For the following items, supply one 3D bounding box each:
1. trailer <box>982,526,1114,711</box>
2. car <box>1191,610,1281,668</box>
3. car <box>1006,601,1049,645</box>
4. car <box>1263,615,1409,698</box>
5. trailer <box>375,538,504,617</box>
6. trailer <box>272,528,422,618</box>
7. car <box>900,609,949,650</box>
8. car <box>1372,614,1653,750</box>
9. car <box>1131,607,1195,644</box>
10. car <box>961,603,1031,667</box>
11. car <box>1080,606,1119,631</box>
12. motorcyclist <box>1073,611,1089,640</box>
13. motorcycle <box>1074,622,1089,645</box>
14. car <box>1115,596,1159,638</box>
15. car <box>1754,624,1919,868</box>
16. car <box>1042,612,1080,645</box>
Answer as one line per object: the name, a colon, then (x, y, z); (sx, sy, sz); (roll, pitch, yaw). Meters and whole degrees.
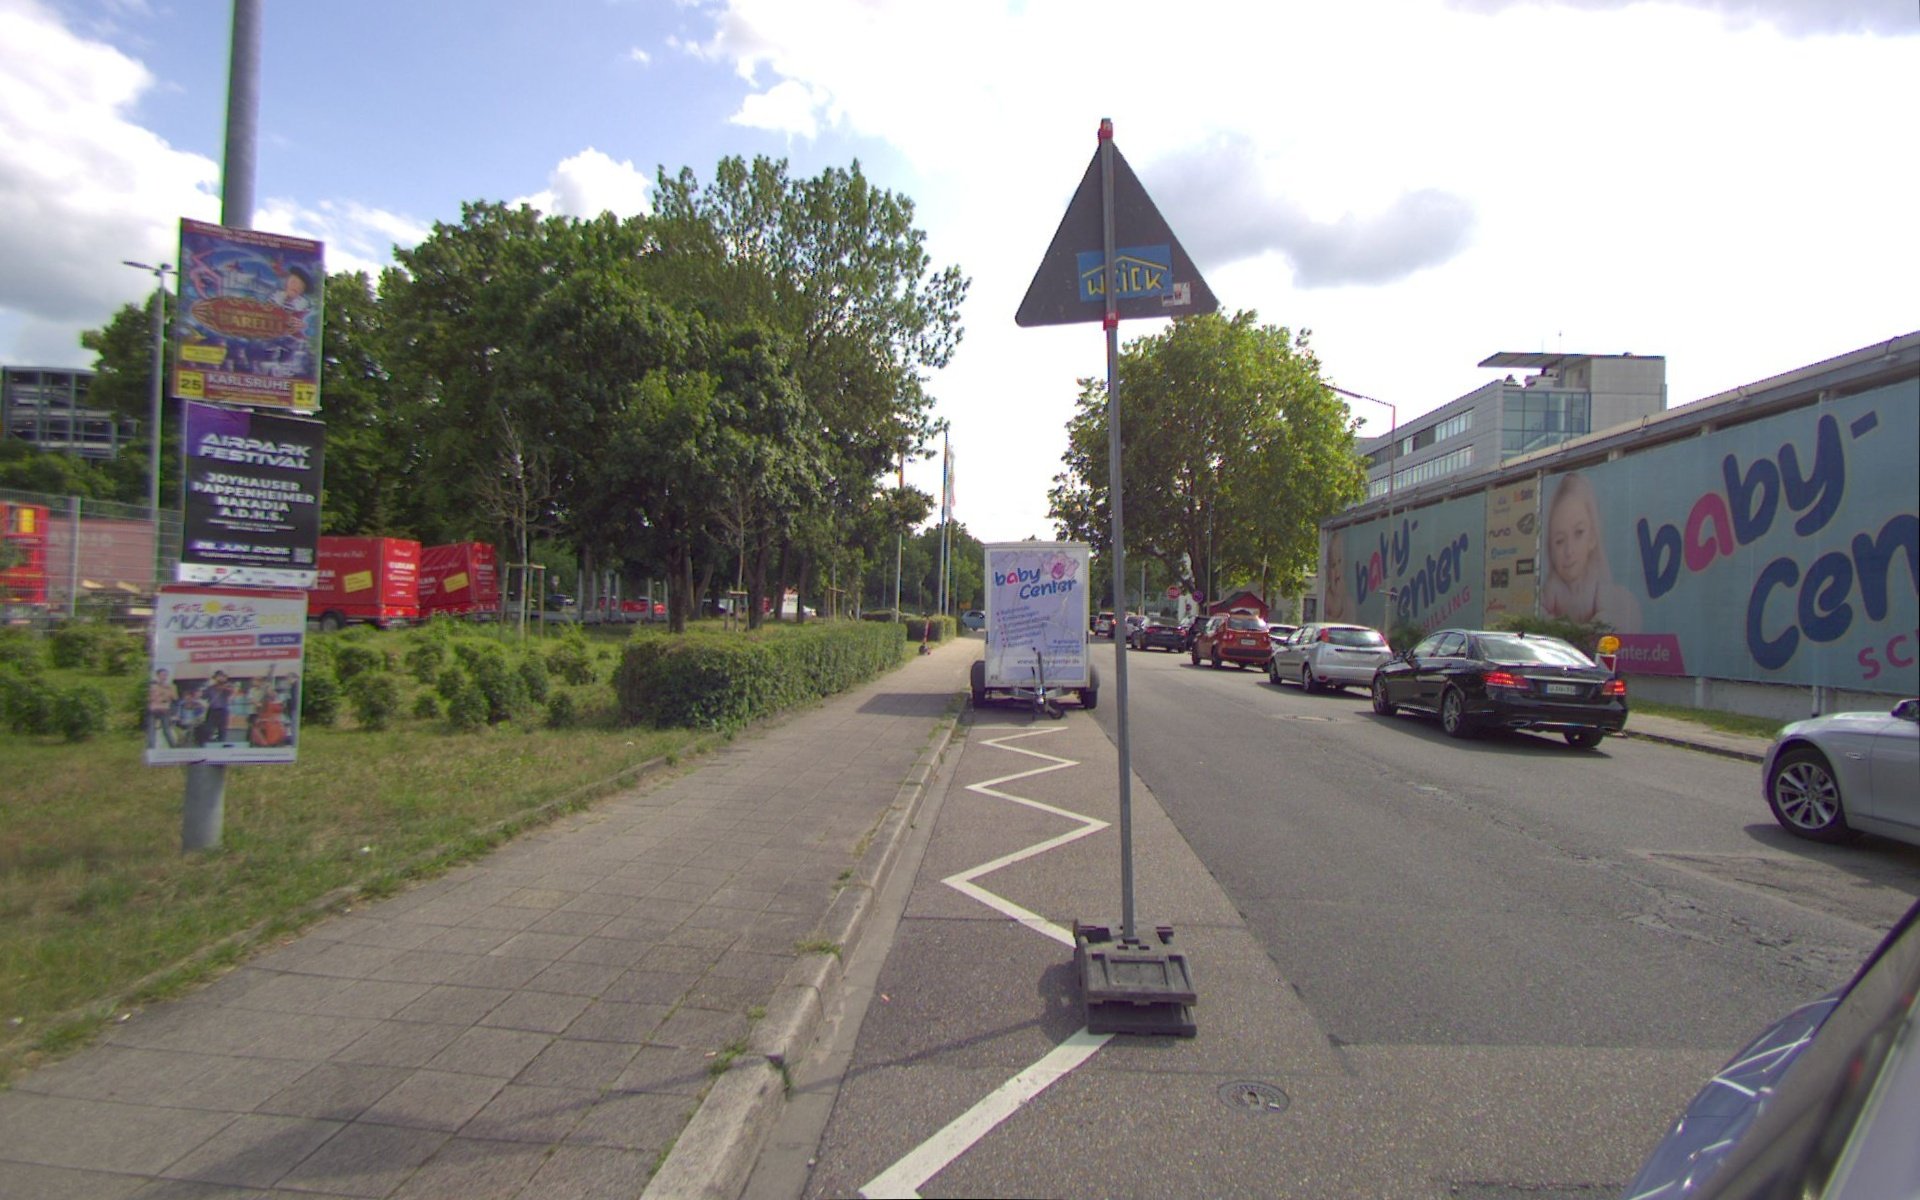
trailer: (1.256, 0.244, 15.629); (1.736, 2.449, 4.274); (-1, 0, 2)
car: (7.980, 1.094, 29.519); (1.569, 1.522, 3.506); (2, 0, -1)
car: (3.382, 1.093, 50.407); (1.965, 2.039, 3.994); (-1, 0, 6)
car: (7.923, 1.132, 21.731); (1.761, 1.509, 3.945); (2, 0, 2)
trailer: (-14.357, -0.603, 28.004); (2.743, 2.039, 1.499); (2, -1, 1)
trailer: (-15.011, -0.649, 24.865); (2.746, 2.039, 1.498); (2, -1, 5)
car: (-1.423, 1.193, 41.249); (1.687, 1.560, 3.684); (-2, -2, 2)
car: (7.527, 1.005, 14.379); (1.821, 1.518, 4.548); (2, 0, 6)
car: (8.535, 1.046, 42.957); (1.977, 1.422, 4.783); (1, 0, 3)
car: (0.957, 0.894, 26.795); (1.686, 1.560, 3.685); (-1, -1, 2)
car: (9.575, 1.271, 69.827); (1.962, 1.603, 4.000); (2, 0, -1)
motorcyclist: (6.966, 1.460, 58.353); (0.759, 1.618, 0.903); (-1, -2, 1)
motorcycle: (6.967, 1.922, 58.054); (0.633, 1.262, 1.958); (-1, -1, 2)
car: (9.253, 0.874, 53.171); (1.965, 2.039, 3.993); (2, 0, 6)
car: (6.769, 0.957, 5.469); (1.741, 1.499, 4.606); (3, 0, 8)
car: (6.744, 1.875, 67.761); (1.961, 2.039, 4.002); (-1, 0, -2)
